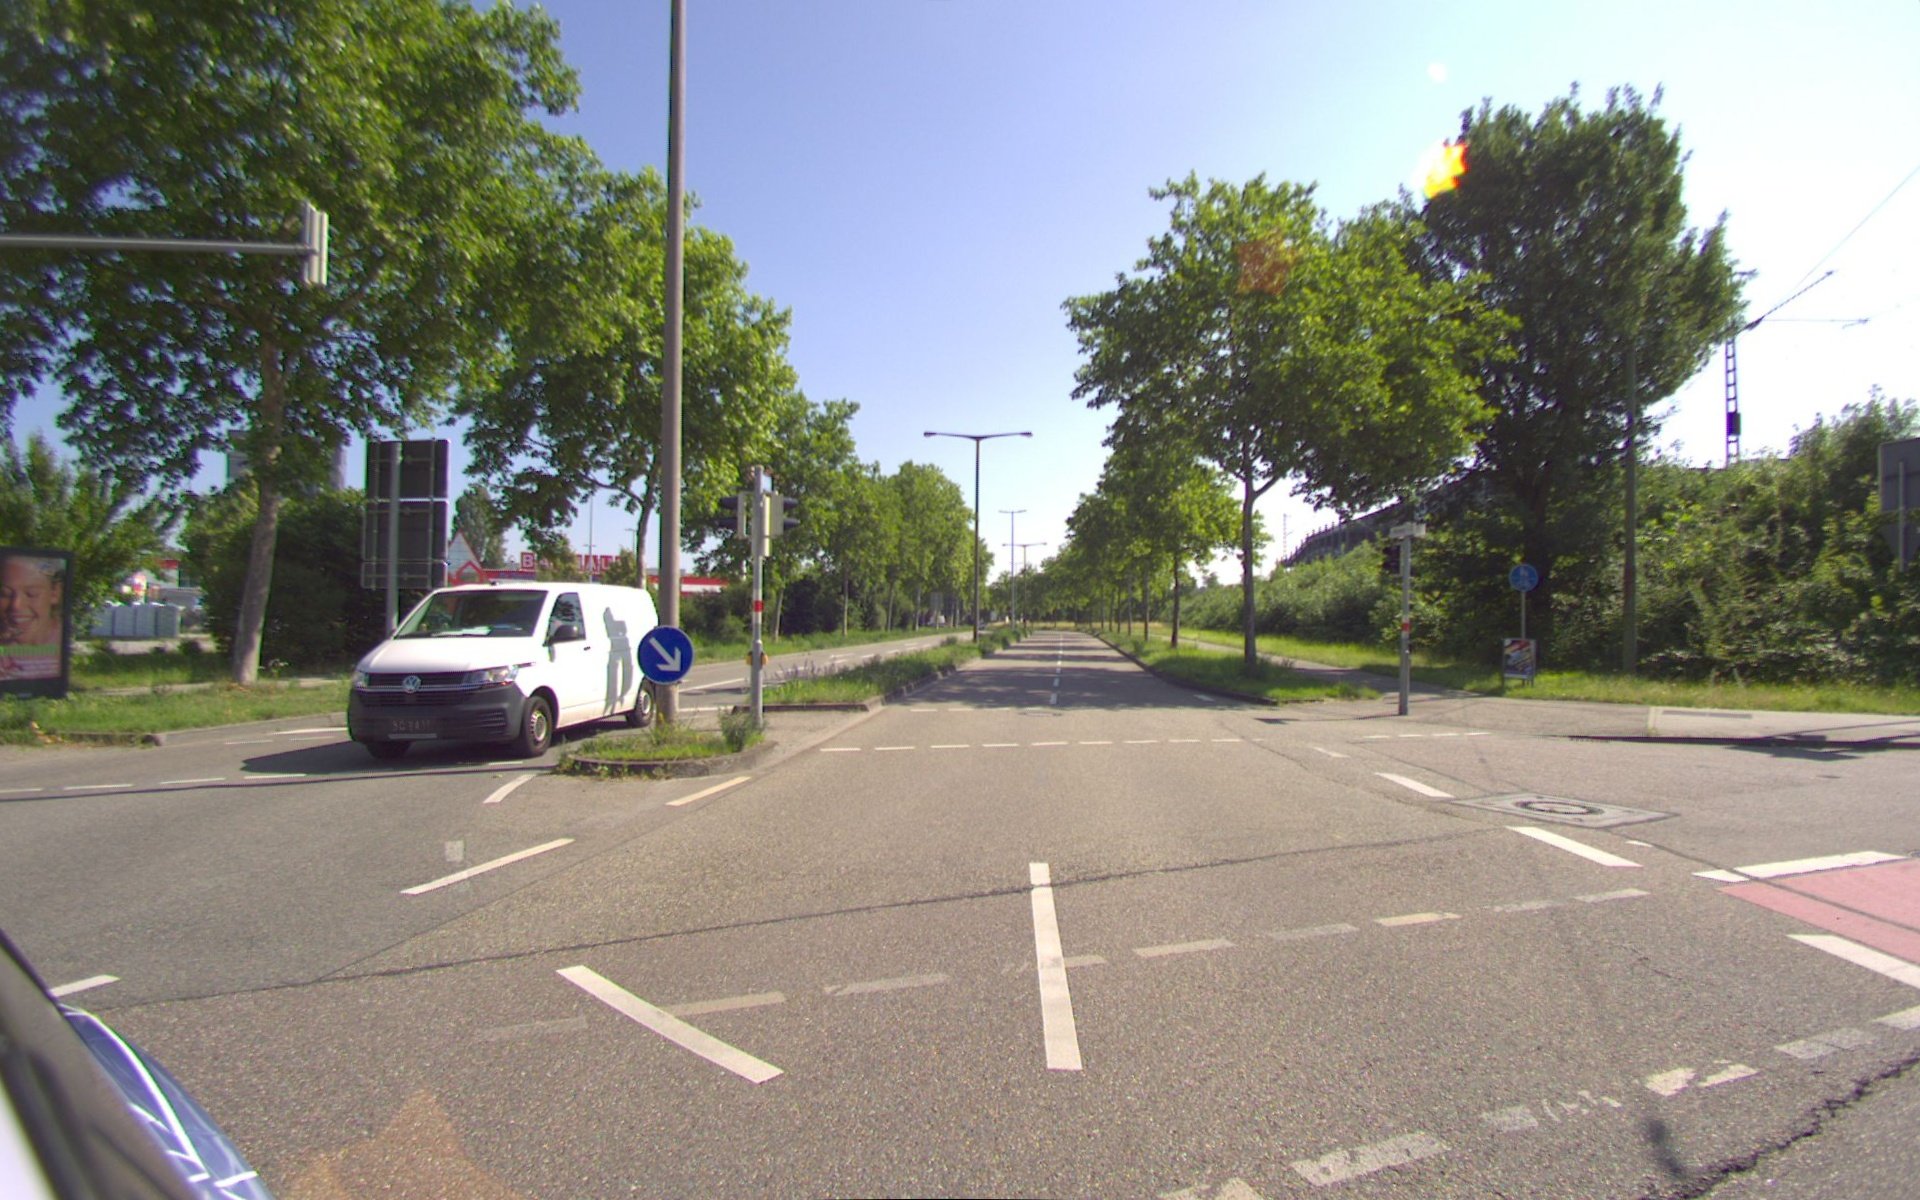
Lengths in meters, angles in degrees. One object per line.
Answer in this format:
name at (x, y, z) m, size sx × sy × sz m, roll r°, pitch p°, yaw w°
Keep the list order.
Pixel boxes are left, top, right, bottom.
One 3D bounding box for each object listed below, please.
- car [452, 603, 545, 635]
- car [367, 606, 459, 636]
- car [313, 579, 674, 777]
car at (-23.832, 0.979, 52.290) m, size 3.955 × 1.493 × 1.994 m, roll -2°, pitch -1°, yaw 10°
car at (-25.270, 0.950, 46.812) m, size 3.491 × 1.256 × 1.608 m, roll -2°, pitch -1°, yaw 10°
car at (-5.242, 0.786, 12.281) m, size 1.850 × 1.915 × 4.875 m, roll 0°, pitch -1°, yaw 4°
